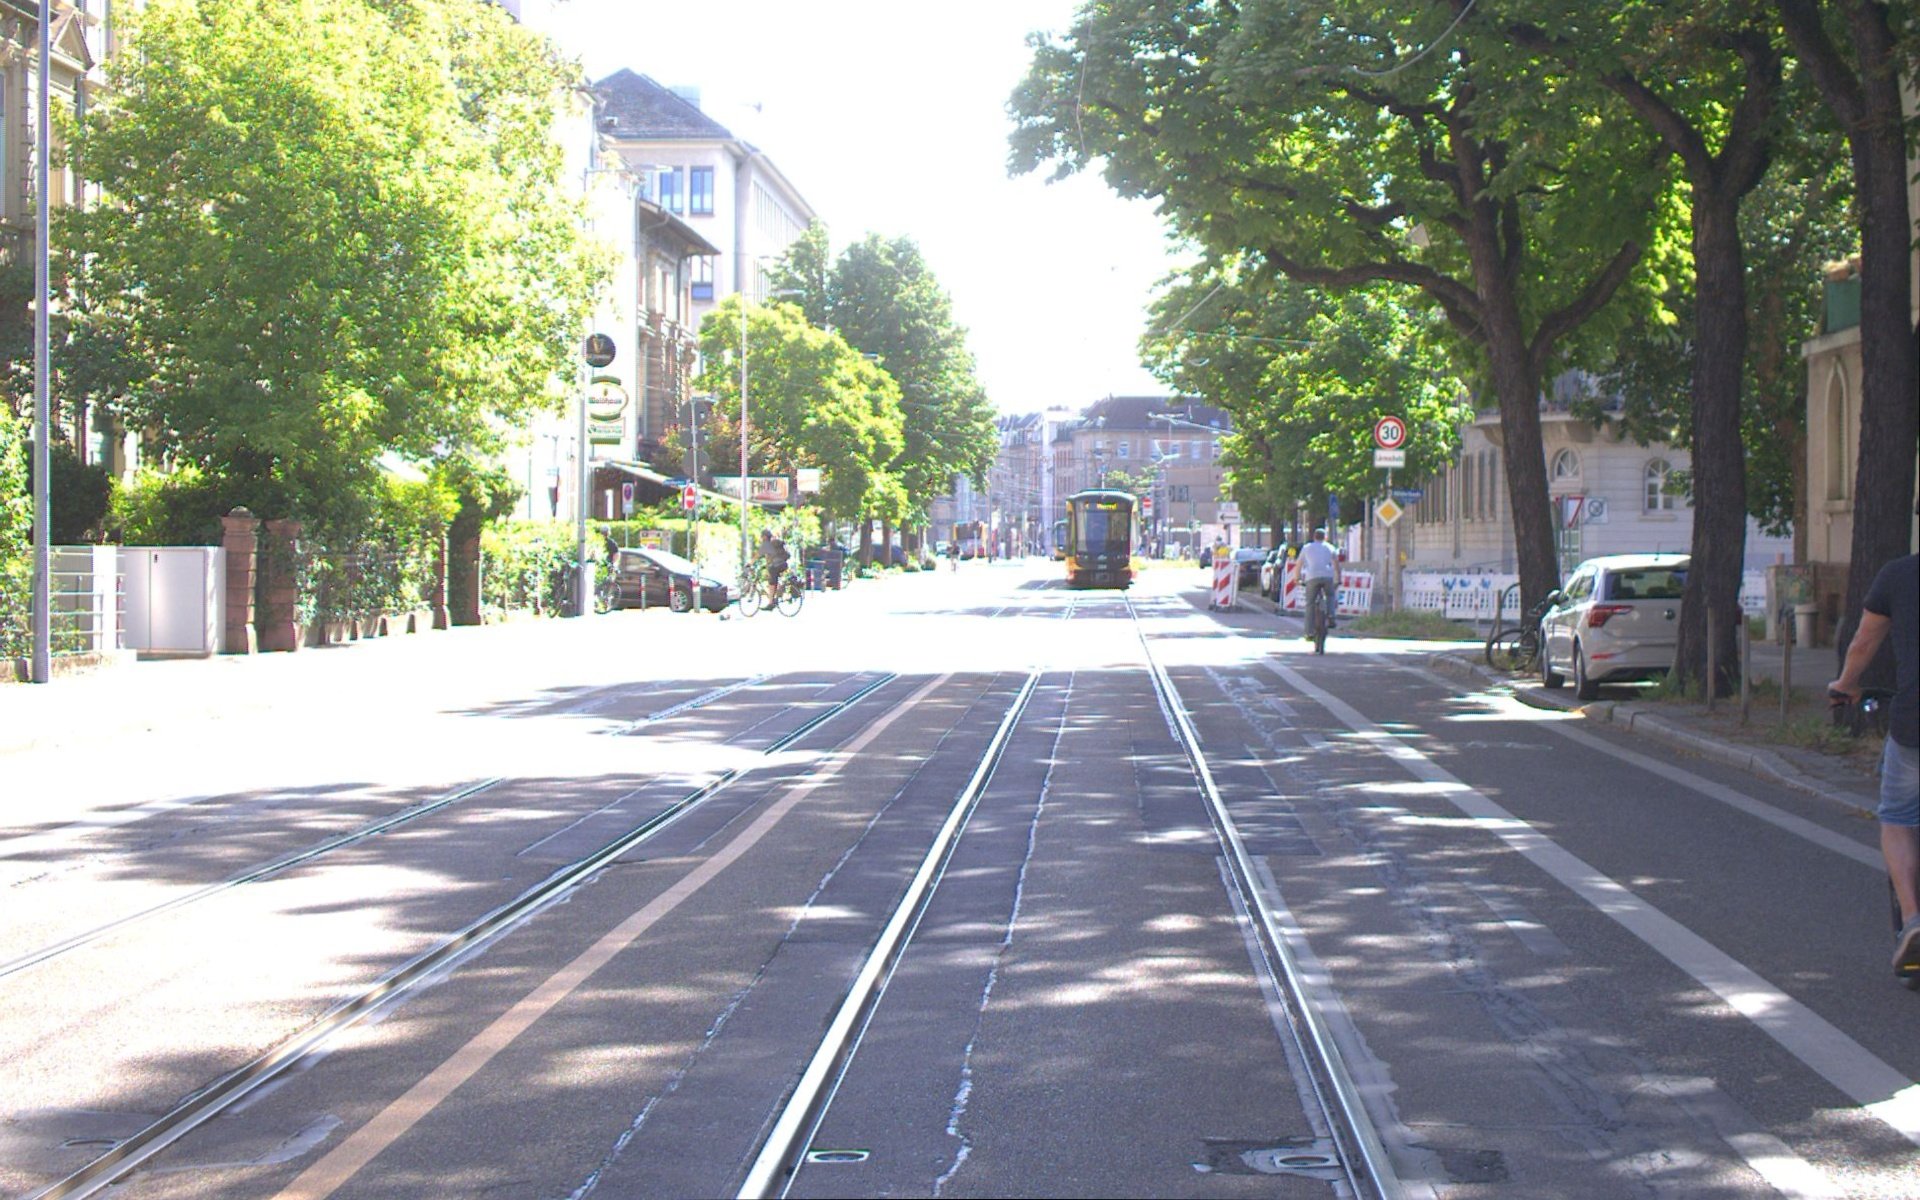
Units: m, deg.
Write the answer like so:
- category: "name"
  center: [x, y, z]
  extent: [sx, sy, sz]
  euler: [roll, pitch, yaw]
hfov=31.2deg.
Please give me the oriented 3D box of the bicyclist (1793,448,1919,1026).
- category: "bicyclist"
  center: [3.250, 0.438, 11.403]
  extent: [0.727, 1.842, 0.837]
  euler: [2, 1, 2]

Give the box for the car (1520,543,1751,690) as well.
- category: "car"
  center: [7.038, 0.135, 36.148]
  extent: [1.749, 1.415, 4.000]
  euler: [-1, 1, 2]

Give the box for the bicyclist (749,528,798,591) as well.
- category: "bicyclist"
  center: [-3.896, -0.846, 71.937]
  extent: [0.773, 1.287, 0.732]
  euler: [2, 1, 19]

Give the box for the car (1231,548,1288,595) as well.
- category: "car"
  center: [10.343, -1.006, 118.938]
  extent: [1.754, 1.546, 3.677]
  euler: [1, 1, 2]

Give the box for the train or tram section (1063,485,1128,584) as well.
- category: "train or tram section"
  center: [4.858, -2.369, 123.441]
  extent: [2.153, 3.420, 6.611]
  euler: [2, 1, 2]

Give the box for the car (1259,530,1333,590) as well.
- category: "car"
  center: [9.171, -1.122, 93.953]
  extent: [1.754, 1.546, 3.677]
  euler: [2, 1, 2]

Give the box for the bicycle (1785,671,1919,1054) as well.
- category: "bicycle"
  center: [3.287, 0.840, 11.474]
  extent: [0.692, 1.108, 1.718]
  euler: [2, 1, 3]

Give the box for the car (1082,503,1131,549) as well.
- category: "car"
  center: [6.648, -3.368, 156.512]
  extent: [1.993, 2.007, 4.000]
  euler: [2, 1, 0]

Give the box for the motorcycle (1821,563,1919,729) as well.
- category: "motorcycle"
  center: [7.482, 0.343, 27.481]
  extent: [0.710, 1.239, 2.185]
  euler: [0, 1, 2]

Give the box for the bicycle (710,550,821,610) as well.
- category: "bicycle"
  center: [-4.078, -0.423, 72.103]
  extent: [2.141, 1.167, 0.802]
  euler: [2, 1, 18]

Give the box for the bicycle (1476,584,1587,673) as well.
- category: "bicycle"
  center: [6.933, 0.343, 41.686]
  extent: [1.270, 1.020, 0.704]
  euler: [2, 0, 10]

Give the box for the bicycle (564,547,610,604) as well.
- category: "bicycle"
  center: [-7.329, -0.493, 67.493]
  extent: [0.632, 1.065, 1.832]
  euler: [1, 1, -14]

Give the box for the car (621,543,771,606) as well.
- category: "car"
  center: [-6.131, -0.578, 79.498]
  extent: [1.754, 1.415, 3.579]
  euler: [1, 0, -38]

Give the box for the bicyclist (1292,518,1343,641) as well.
- category: "bicyclist"
  center: [5.294, -0.314, 50.925]
  extent: [0.645, 1.789, 0.956]
  euler: [2, 1, 2]

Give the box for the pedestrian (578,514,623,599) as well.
- category: "pedestrian"
  center: [-7.371, -0.895, 70.540]
  extent: [0.770, 1.706, 0.669]
  euler: [2, 1, 3]

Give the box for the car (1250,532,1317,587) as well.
- category: "car"
  center: [9.638, -1.236, 102.556]
  extent: [1.754, 1.546, 3.677]
  euler: [2, 1, 2]

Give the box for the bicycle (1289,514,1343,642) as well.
- category: "bicycle"
  center: [5.337, -0.347, 51.577]
  extent: [0.663, 1.853, 2.259]
  euler: [2, 1, 4]

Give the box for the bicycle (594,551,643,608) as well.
- category: "bicycle"
  center: [-6.817, -0.417, 68.560]
  extent: [0.632, 1.065, 1.832]
  euler: [1, 1, -15]

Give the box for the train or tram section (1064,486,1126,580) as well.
- category: "train or tram section"
  center: [5.105, -2.536, 130.085]
  extent: [2.153, 3.420, 6.611]
  euler: [2, 1, 2]

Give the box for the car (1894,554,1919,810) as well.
- category: "car"
  center: [6.224, 0.504, 17.472]
  extent: [1.628, 1.431, 4.665]
  euler: [0, 1, -1]
